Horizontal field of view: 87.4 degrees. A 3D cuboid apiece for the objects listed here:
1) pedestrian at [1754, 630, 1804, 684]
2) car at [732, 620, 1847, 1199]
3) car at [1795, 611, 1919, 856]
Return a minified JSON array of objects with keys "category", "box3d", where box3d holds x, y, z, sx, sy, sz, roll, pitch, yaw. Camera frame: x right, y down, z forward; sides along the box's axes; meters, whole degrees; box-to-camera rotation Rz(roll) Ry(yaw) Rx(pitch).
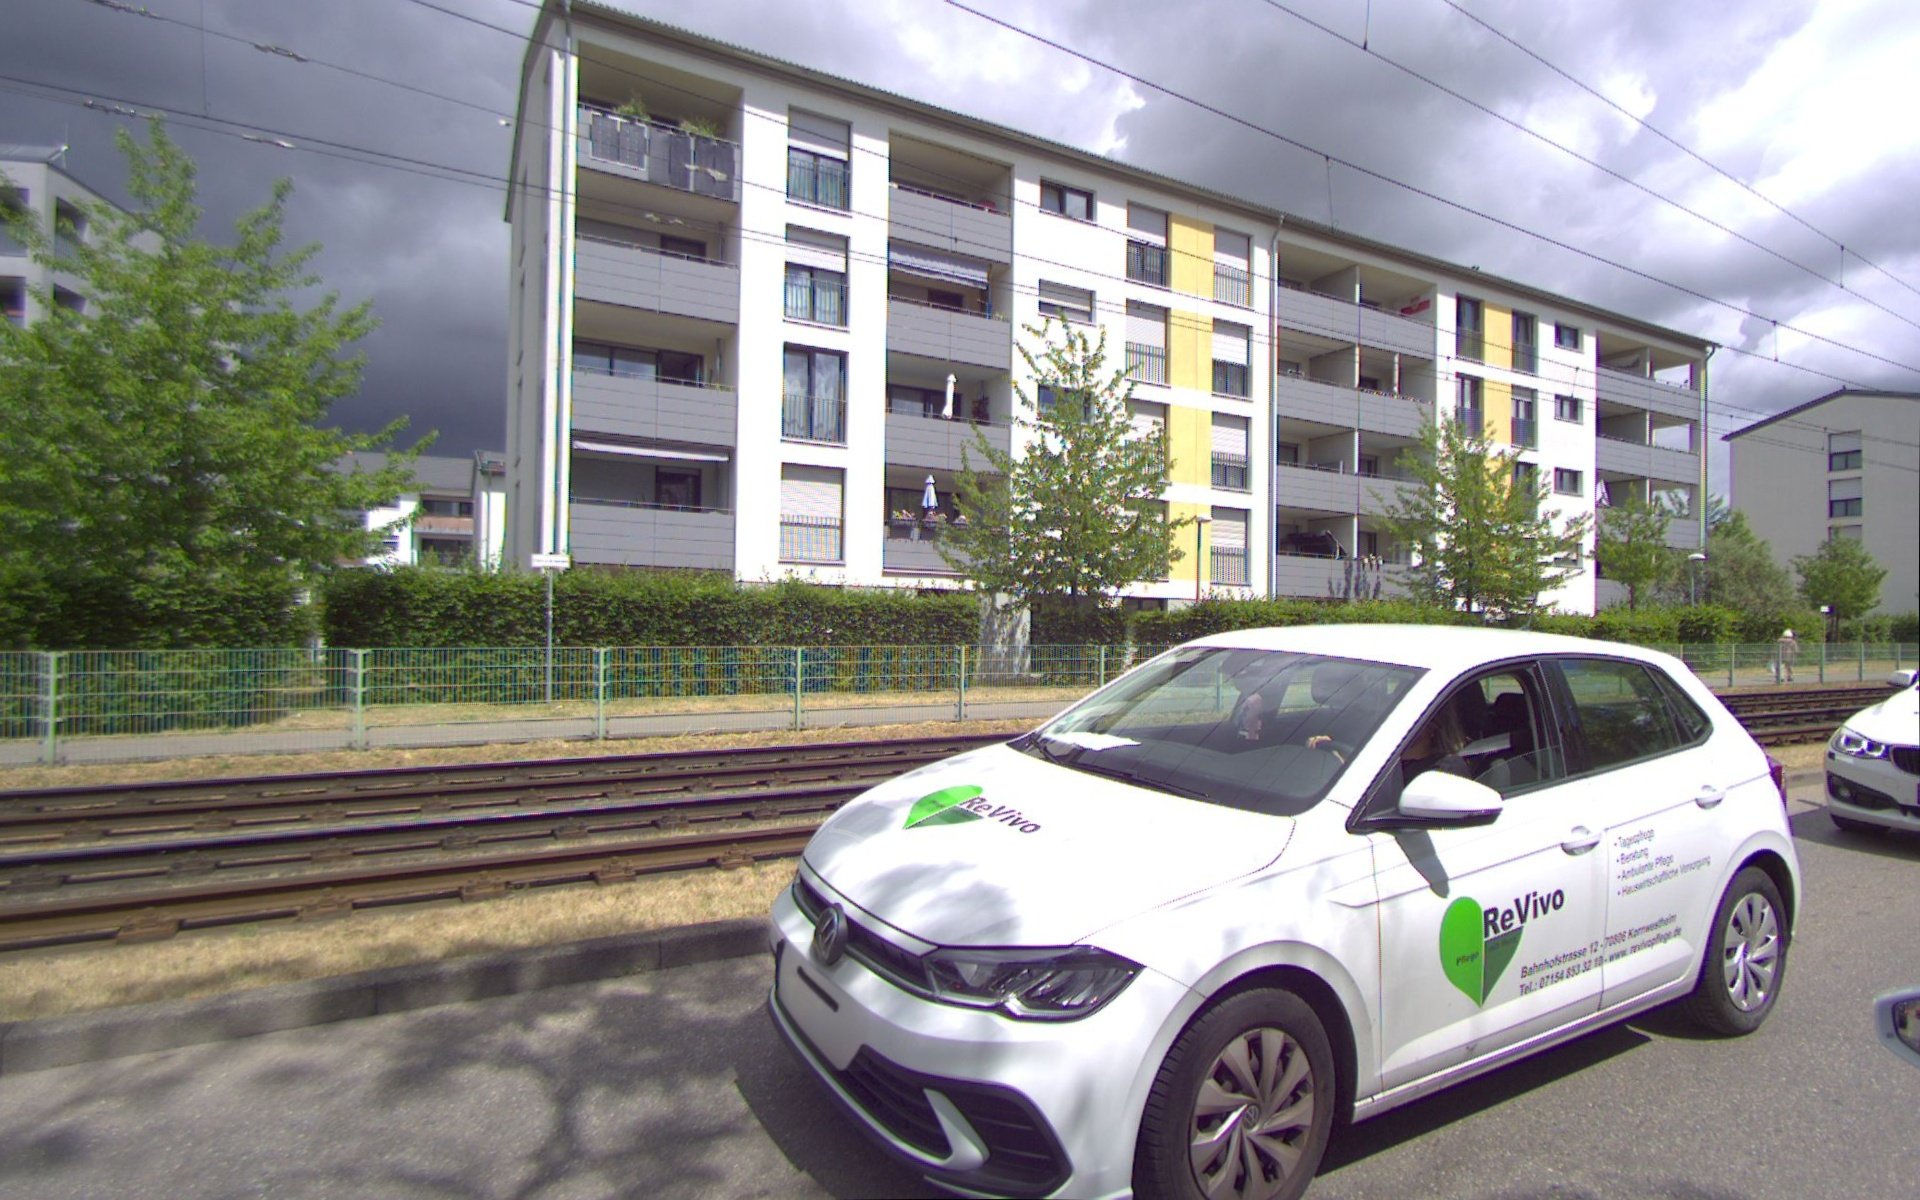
[{"category":"pedestrian","box3d":[23.398,1.610,28.695,0.984,1.503,0.792,1,0,-30]},{"category":"car","box3d":[1.344,0.813,3.633,3.895,1.425,1.738,1,-1,-31]},{"category":"car","box3d":[8.209,0.895,7.267,4.780,1.523,1.808,1,0,-30]}]
